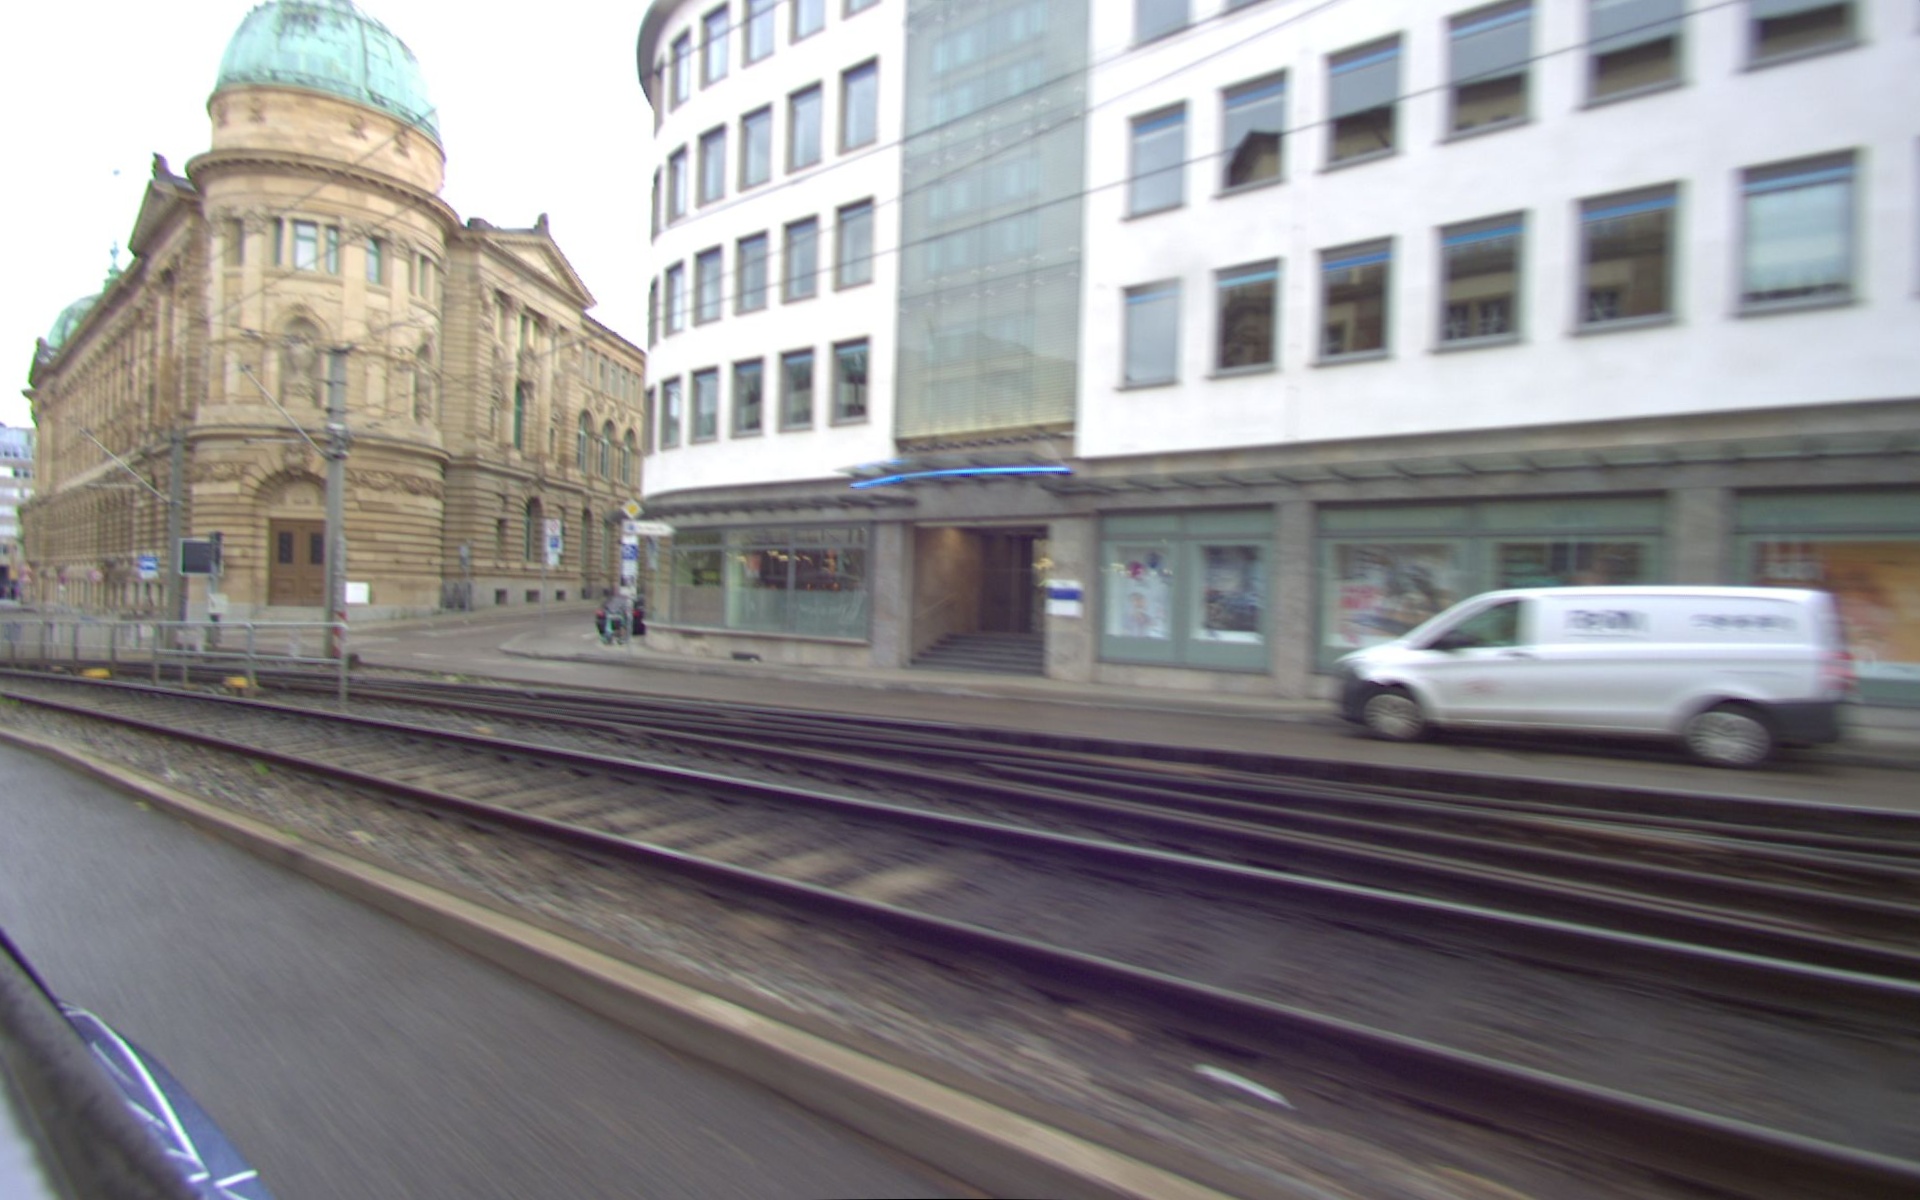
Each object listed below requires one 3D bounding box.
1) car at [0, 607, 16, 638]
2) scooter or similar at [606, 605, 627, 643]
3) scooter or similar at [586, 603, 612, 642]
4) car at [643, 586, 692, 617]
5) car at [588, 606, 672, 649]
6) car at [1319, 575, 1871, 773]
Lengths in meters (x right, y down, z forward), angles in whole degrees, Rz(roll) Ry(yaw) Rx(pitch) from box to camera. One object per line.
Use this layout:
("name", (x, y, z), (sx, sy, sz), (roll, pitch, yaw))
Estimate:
("car", (-47.209, 1.056, 48.676), (3.993, 1.397, 1.975), (1, 1, 37))
("scooter or similar", (-11.204, 0.769, 33.004), (0.404, 1.209, 1.565), (0, 1, -28))
("scooter or similar", (-11.764, 0.713, 32.956), (0.404, 1.209, 1.564), (0, 1, -35))
("car", (-15.950, 0.053, 55.335), (1.968, 1.652, 4.007), (0, 1, -8))
("car", (-12.291, 0.995, 37.925), (1.760, 1.408, 4.327), (0, 1, 0))
("car", (7.126, 0.716, 11.870), (5.124, 1.856, 1.975), (1, -3, 38))
